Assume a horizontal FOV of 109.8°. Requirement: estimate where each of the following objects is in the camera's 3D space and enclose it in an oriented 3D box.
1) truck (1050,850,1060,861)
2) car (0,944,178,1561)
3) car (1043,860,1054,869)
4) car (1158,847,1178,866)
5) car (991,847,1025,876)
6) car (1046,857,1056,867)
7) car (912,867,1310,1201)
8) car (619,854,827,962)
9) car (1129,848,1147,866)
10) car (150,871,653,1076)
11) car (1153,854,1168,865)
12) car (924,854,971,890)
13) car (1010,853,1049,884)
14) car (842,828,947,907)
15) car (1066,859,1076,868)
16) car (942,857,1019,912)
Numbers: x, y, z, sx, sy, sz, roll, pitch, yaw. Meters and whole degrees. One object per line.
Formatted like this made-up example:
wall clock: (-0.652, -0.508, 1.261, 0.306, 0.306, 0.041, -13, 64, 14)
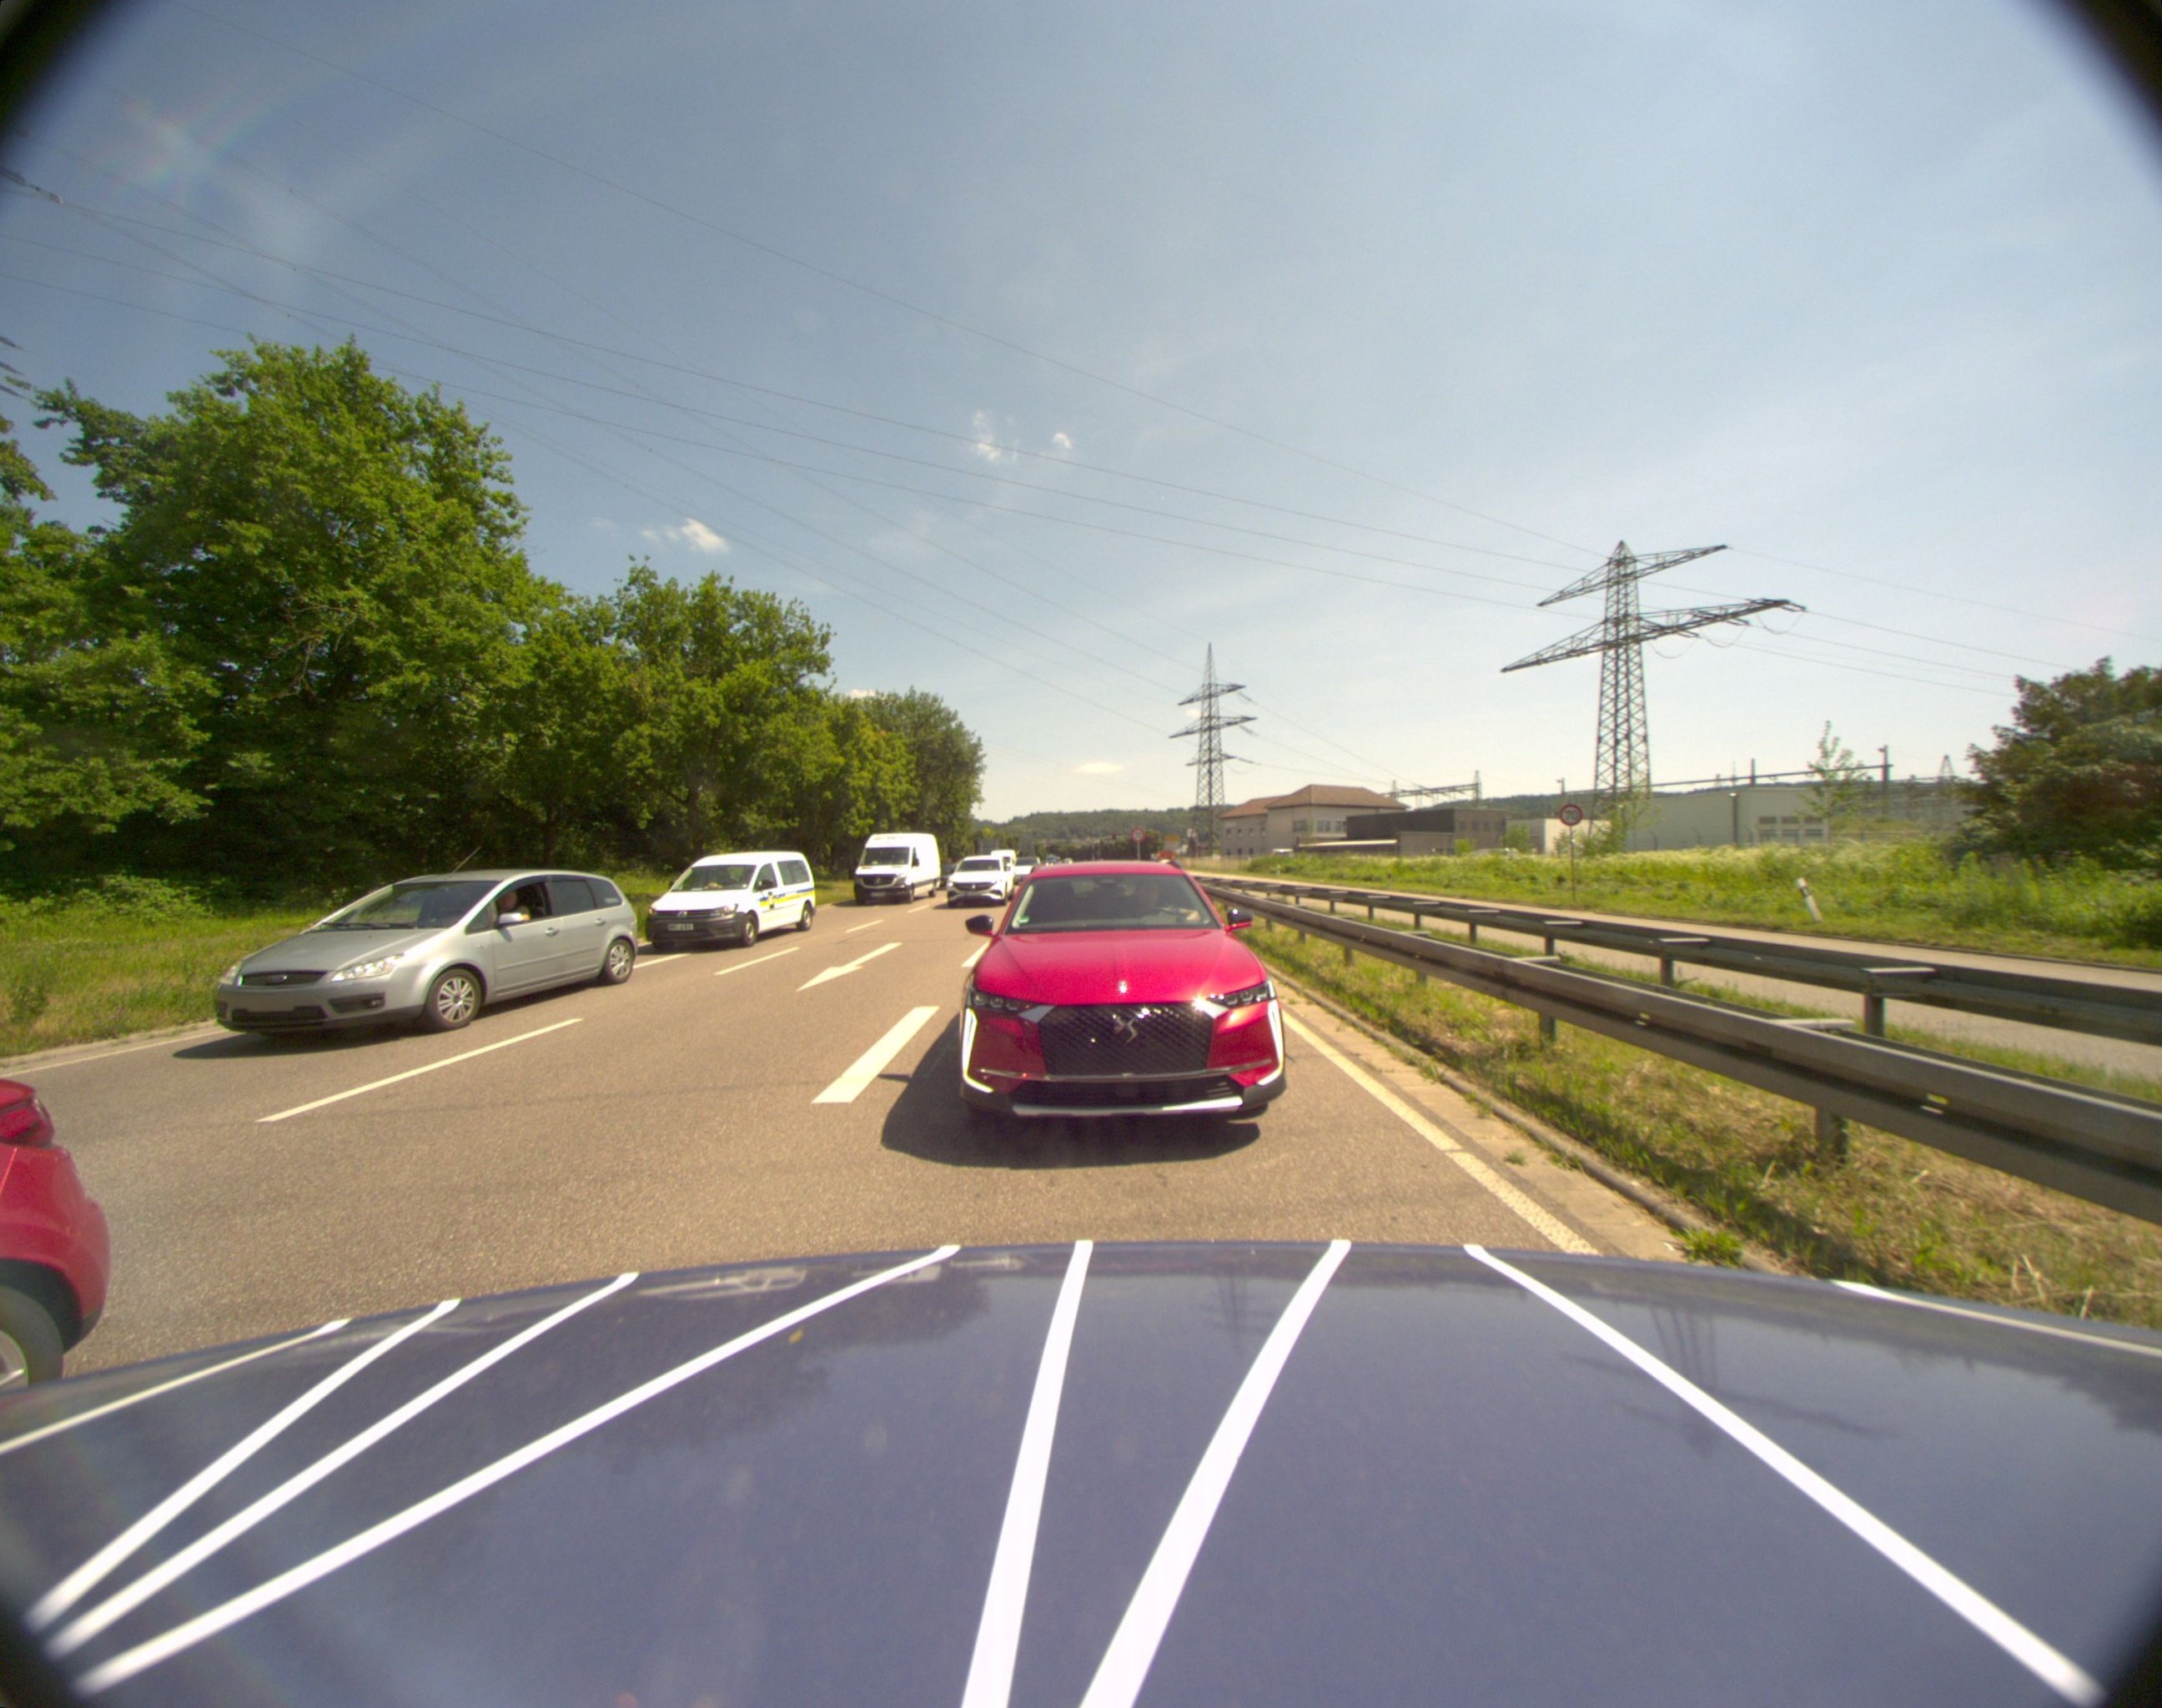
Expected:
truck: (-6.227, 0.420, 182.131, 2.170, 2.428, 4.909, -2, 1, -2)
car: (-3.530, 1.019, 0.163, 1.747, 1.453, 4.065, -2, 0, 0)
car: (-6.304, 2.026, 147.404, 1.878, 1.674, 3.998, -2, 1, -2)
car: (14.352, 0.402, 125.676, 2.607, 3.043, 5.638, 0, 0, 0)
car: (-6.543, 0.652, 68.432, 2.308, 2.408, 5.814, -2, 0, 1)
car: (-6.500, 1.736, 165.724, 1.998, 1.808, 3.999, -2, 1, 1)
car: (0.170, 0.900, 5.828, 1.846, 1.453, 4.414, -2, 0, 1)
car: (-6.988, 0.926, 15.571, 1.809, 1.790, 5.037, -2, 0, 0)
car: (9.714, 0.450, 129.957, 2.607, 3.043, 5.638, 0, 0, 0)
car: (-6.970, 1.064, 8.581, 1.747, 1.585, 4.272, -2, 0, 1)
car: (14.111, 0.975, 135.517, 1.999, 1.904, 3.998, -2, 1, -3)
car: (-7.098, 0.928, 40.707, 1.878, 1.674, 3.998, -2, 1, -2)
car: (-3.023, 0.821, 45.232, 2.022, 1.671, 3.999, -2, 0, -1)
car: (-6.976, 0.456, 29.412, 2.232, 2.592, 7.018, -2, 0, 0)
car: (-1.996, 1.849, 155.750, 1.878, 1.674, 3.998, -2, 1, -2)
car: (-3.214, 0.922, 25.053, 1.850, 1.559, 4.363, -2, 0, 1)
